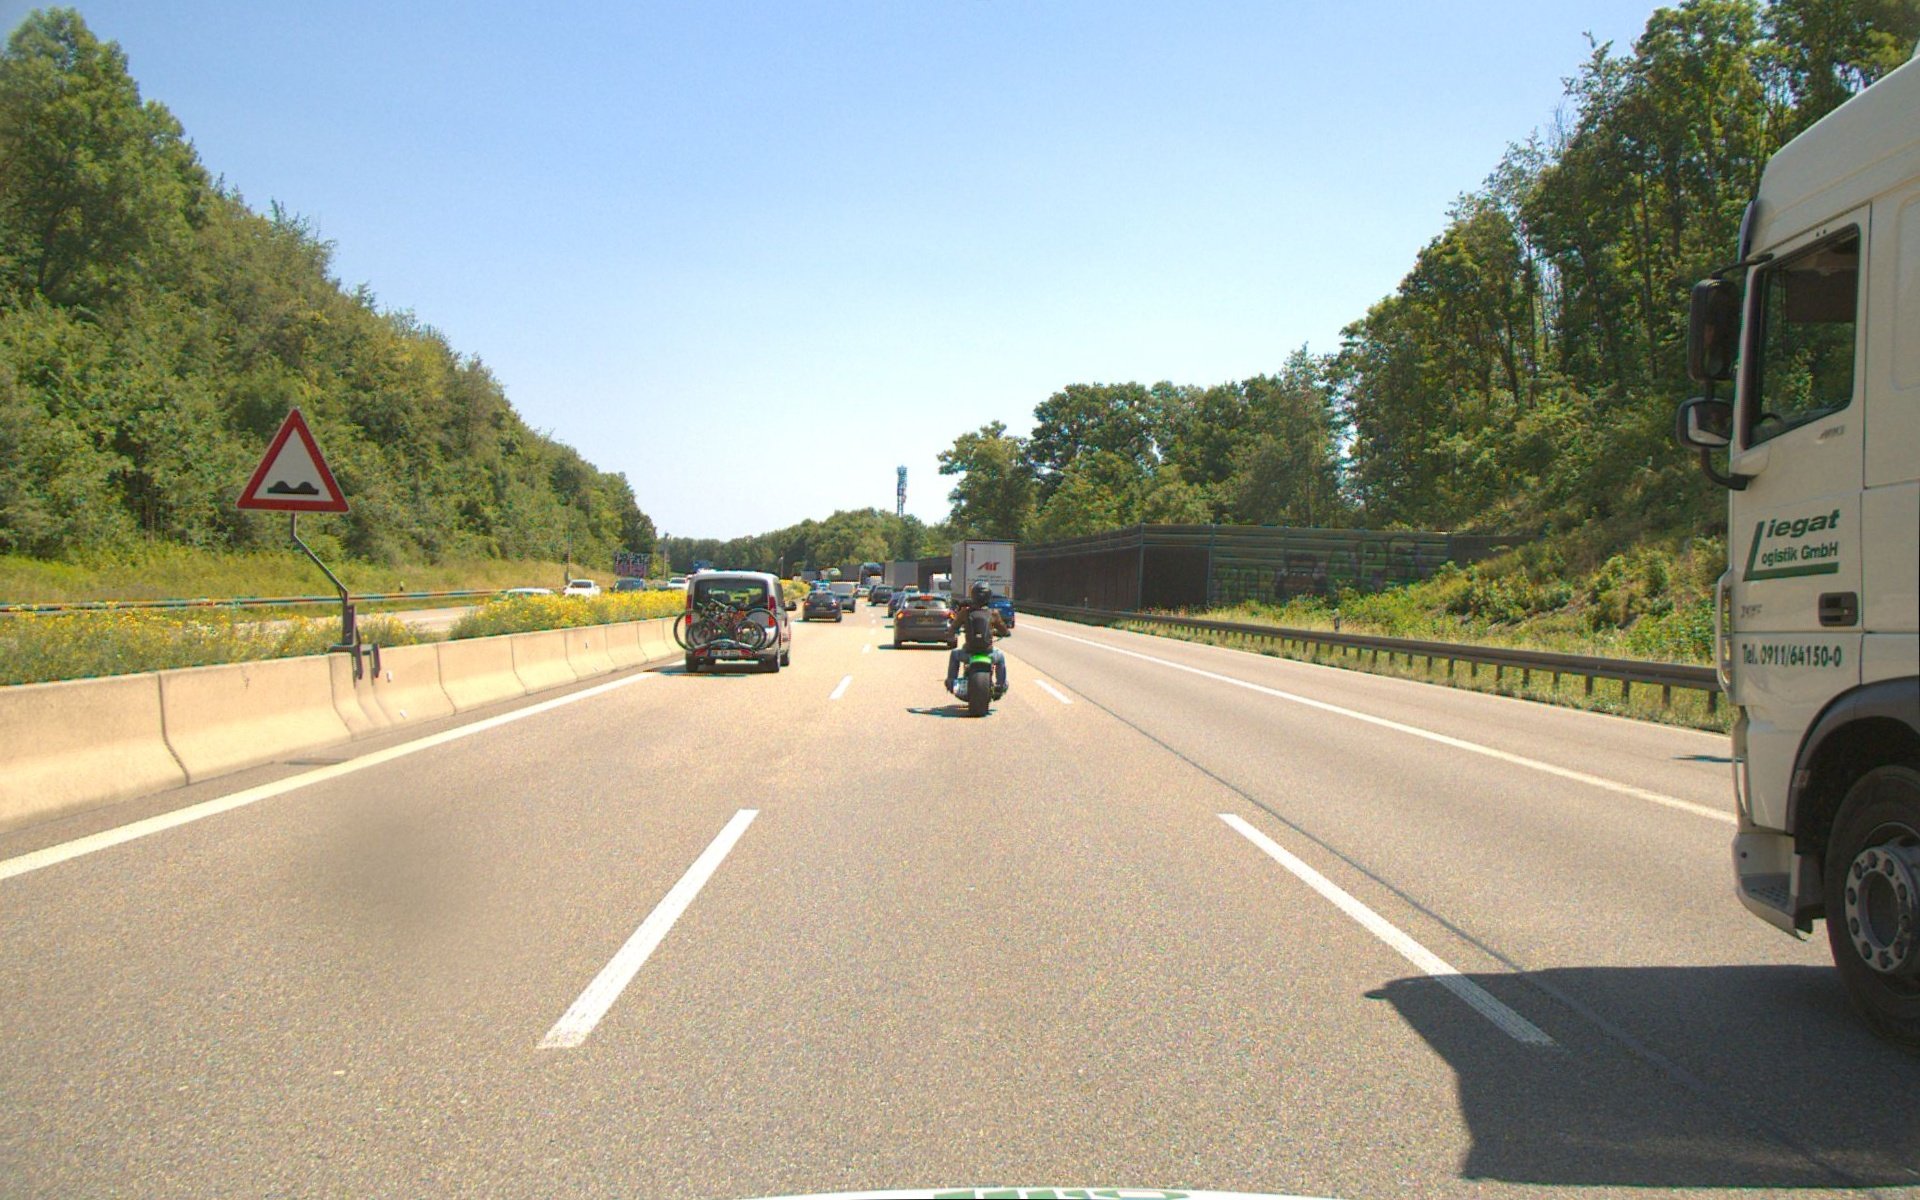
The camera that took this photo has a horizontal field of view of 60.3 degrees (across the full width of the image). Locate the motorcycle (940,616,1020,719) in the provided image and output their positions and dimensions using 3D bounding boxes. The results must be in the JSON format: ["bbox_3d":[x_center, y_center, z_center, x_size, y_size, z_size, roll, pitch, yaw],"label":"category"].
[{"bbox_3d":[0.257,0.837,21.476,0.945,1.168,2.812,1,1,1],"label":"motorcycle"}]

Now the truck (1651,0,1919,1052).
[{"bbox_3d":[4.508,-0.640,4.363,2.729,4.278,5.868,1,1,-1],"label":"truck"}]

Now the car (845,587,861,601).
[{"bbox_3d":[-12.785,-0.718,197.899,1.796,1.522,3.740,1,-1,-4],"label":"car"}]

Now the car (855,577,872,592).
[{"bbox_3d":[-13.023,-2.058,223.071,2.067,1.909,3.994,1,-1,-6],"label":"car"}]

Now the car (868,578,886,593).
[{"bbox_3d":[-10.909,-1.924,217.585,2.067,1.909,3.994,1,-1,-6],"label":"car"}]

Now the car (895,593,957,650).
[{"bbox_3d":[-0.969,0.577,45.584,1.629,1.478,3.867,1,-1,-2],"label":"car"}]

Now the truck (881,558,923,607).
[{"bbox_3d":[-6.291,-1.837,178.033,3.730,5.046,8.936,1,-1,-7],"label":"truck"}]

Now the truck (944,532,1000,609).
[{"bbox_3d":[0.628,-1.652,94.508,2.828,4.218,5.983,1,0,-3],"label":"truck"}]

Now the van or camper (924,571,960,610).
[{"bbox_3d":[-1.371,-0.695,125.376,2.631,2.862,6.801,1,-1,-1],"label":"van or camper"}]

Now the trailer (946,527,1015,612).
[{"bbox_3d":[0.964,-1.567,87.685,2.828,4.109,13.788,1,1,-3],"label":"trailer"}]

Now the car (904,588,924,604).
[{"bbox_3d":[-4.605,-0.385,165.810,1.953,1.601,3.998,1,-1,-3],"label":"car"}]

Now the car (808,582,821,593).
[{"bbox_3d":[-21.009,-1.763,238.243,1.797,1.522,3.738,1,-1,-6],"label":"car"}]

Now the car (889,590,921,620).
[{"bbox_3d":[-3.065,0.289,92.266,1.743,1.579,3.583,1,-1,-2],"label":"car"}]

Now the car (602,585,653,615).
[{"bbox_3d":[-17.437,0.005,86.898,1.953,1.512,3.999,1,-1,-2],"label":"car"}]

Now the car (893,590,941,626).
[{"bbox_3d":[-1.849,0.360,70.305,1.954,1.455,3.845,1,-1,-3],"label":"car"}]

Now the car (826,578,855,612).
[{"bbox_3d":[-7.551,-0.300,104.779,1.756,2.049,3.639,1,-1,-4],"label":"car"}]

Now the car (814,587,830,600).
[{"bbox_3d":[-16.154,-0.740,194.075,1.796,1.522,3.740,1,-1,-4],"label":"car"}]

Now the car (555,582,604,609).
[{"bbox_3d":[-21.821,-0.246,95.052,1.953,1.467,4.169,1,-1,-2],"label":"car"}]

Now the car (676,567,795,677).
[{"bbox_3d":[-4.171,0.403,31.291,1.861,1.906,4.409,1,-1,-3],"label":"car"}]

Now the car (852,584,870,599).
[{"bbox_3d":[-10.508,-0.887,175.802,1.796,1.522,3.740,1,-1,-4],"label":"car"}]

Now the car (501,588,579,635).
[{"bbox_3d":[-13.218,0.339,52.253,1.590,1.410,4.135,1,0,-3],"label":"car"}]

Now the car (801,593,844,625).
[{"bbox_3d":[-6.439,0.431,77.957,1.954,1.411,3.996,1,-1,-4],"label":"car"}]

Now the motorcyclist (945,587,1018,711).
[{"bbox_3d":[0.279,0.609,21.227,0.881,1.501,1.872,1,-1,1],"label":"motorcyclist"}]

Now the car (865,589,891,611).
[{"bbox_3d":[-6.539,0.033,132.002,1.954,1.669,3.996,1,-1,-4],"label":"car"}]

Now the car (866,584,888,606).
[{"bbox_3d":[-7.880,-0.480,156.727,1.874,2.049,3.687,1,-1,-5],"label":"car"}]

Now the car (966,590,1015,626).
[{"bbox_3d":[1.315,0.374,72.979,1.618,1.508,4.476,1,-1,-6],"label":"car"}]

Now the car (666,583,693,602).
[{"bbox_3d":[-25.224,-0.678,148.859,1.954,1.645,4.481,1,1,-3],"label":"car"}]
